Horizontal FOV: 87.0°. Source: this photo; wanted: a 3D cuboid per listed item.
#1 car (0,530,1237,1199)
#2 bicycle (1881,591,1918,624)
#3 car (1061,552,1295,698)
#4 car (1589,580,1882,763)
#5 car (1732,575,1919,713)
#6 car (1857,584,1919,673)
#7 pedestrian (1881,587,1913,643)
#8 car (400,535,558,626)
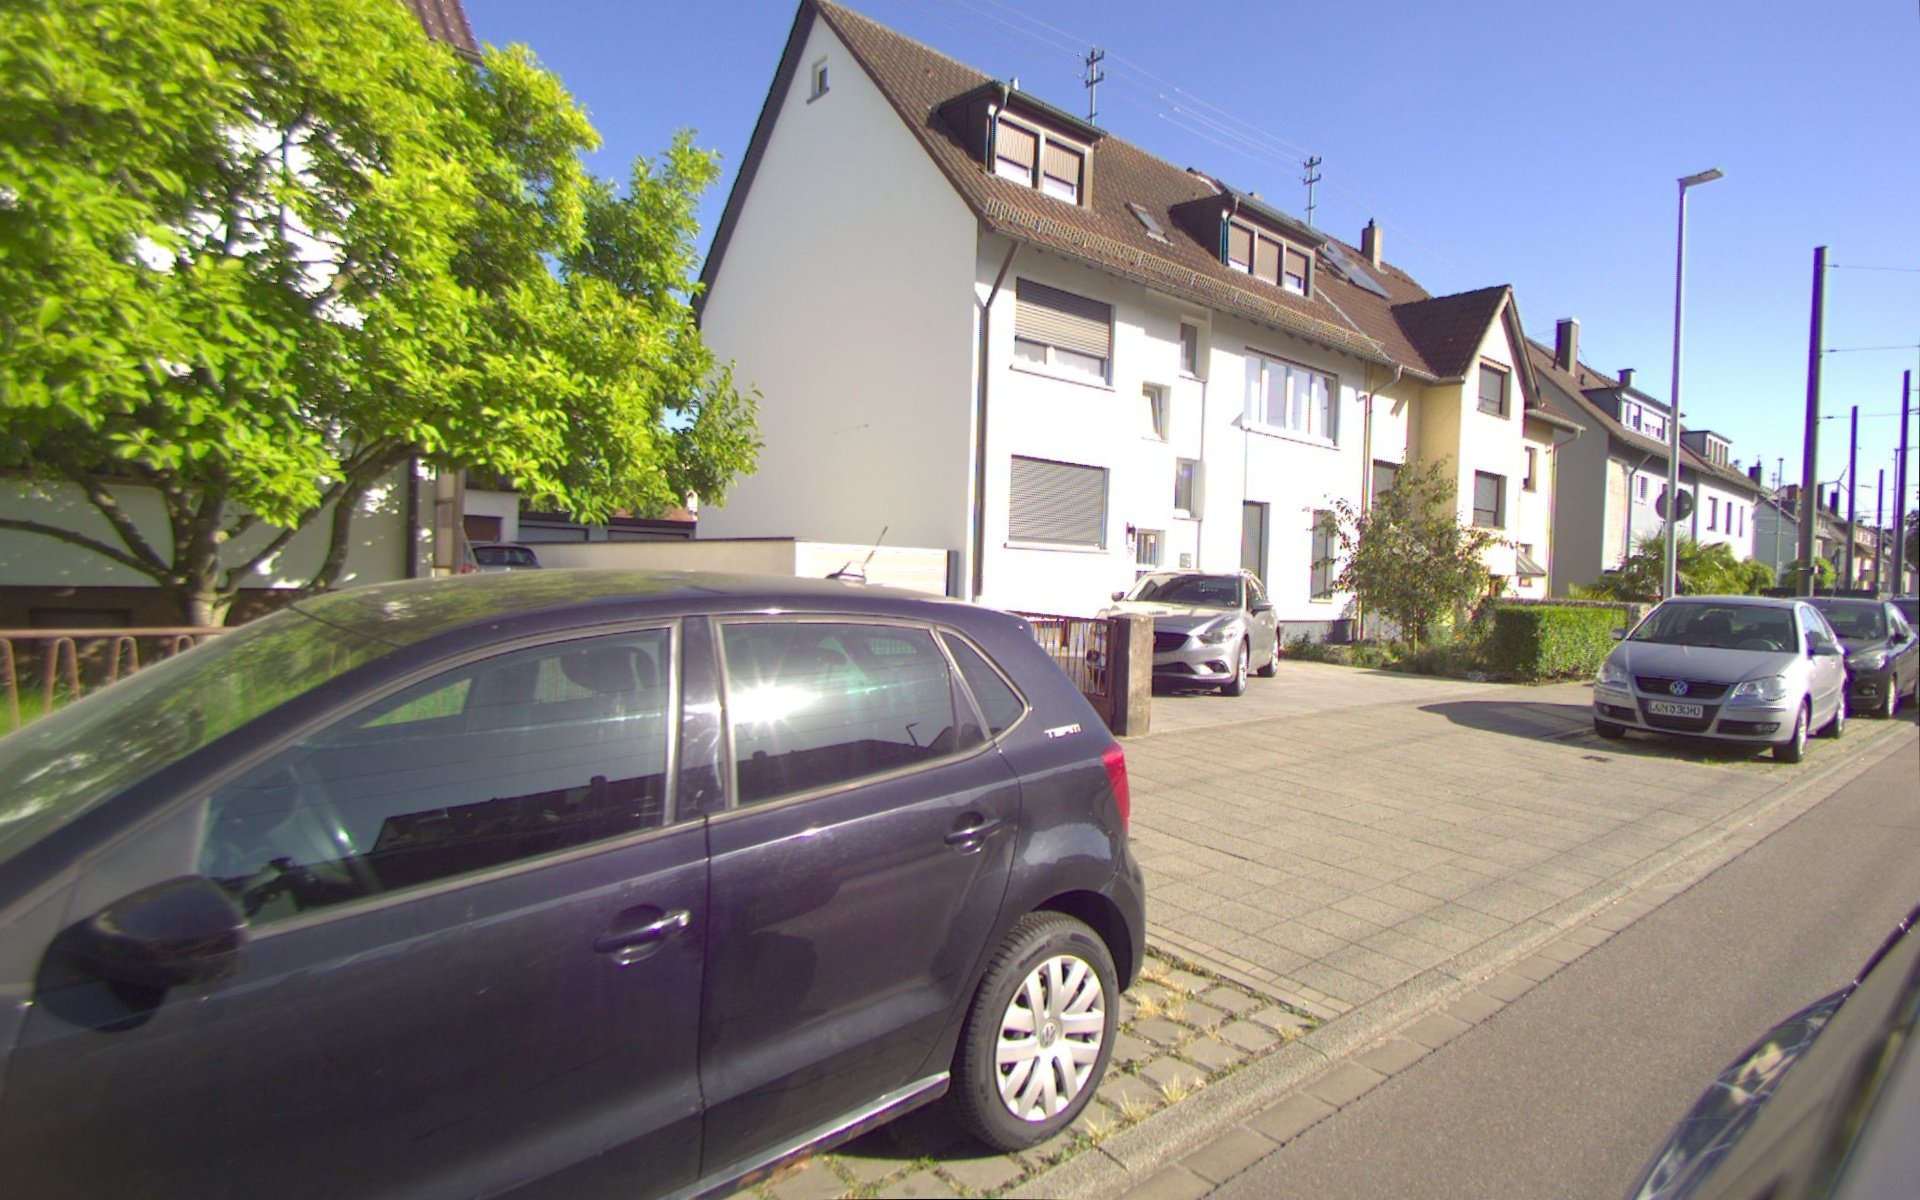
[{"bbox_3d":[-1.289,0.606,2.309,4.052,1.471,1.675,0,3,-40],"label":"car"},{"bbox_3d":[29.948,0.222,32.251,1.534,0.991,0.602,0,4,-39],"label":"bicycle"},{"bbox_3d":[3.055,0.197,13.235,1.979,1.463,4.842,3,2,24],"label":"car"},{"bbox_3d":[8.195,0.573,10.534,4.373,1.493,1.618,0,3,-42],"label":"car"},{"bbox_3d":[12.284,0.522,13.987,3.766,1.566,1.671,0,4,-39],"label":"car"},{"bbox_3d":[20.127,0.564,20.869,4.395,1.680,1.858,0,2,-41],"label":"car"},{"bbox_3d":[29.618,0.472,31.996,0.701,1.744,0.584,1,2,-39],"label":"pedestrian"},{"bbox_3d":[-9.236,-0.416,19.288,1.729,1.566,3.727,0,2,-42],"label":"car"}]
